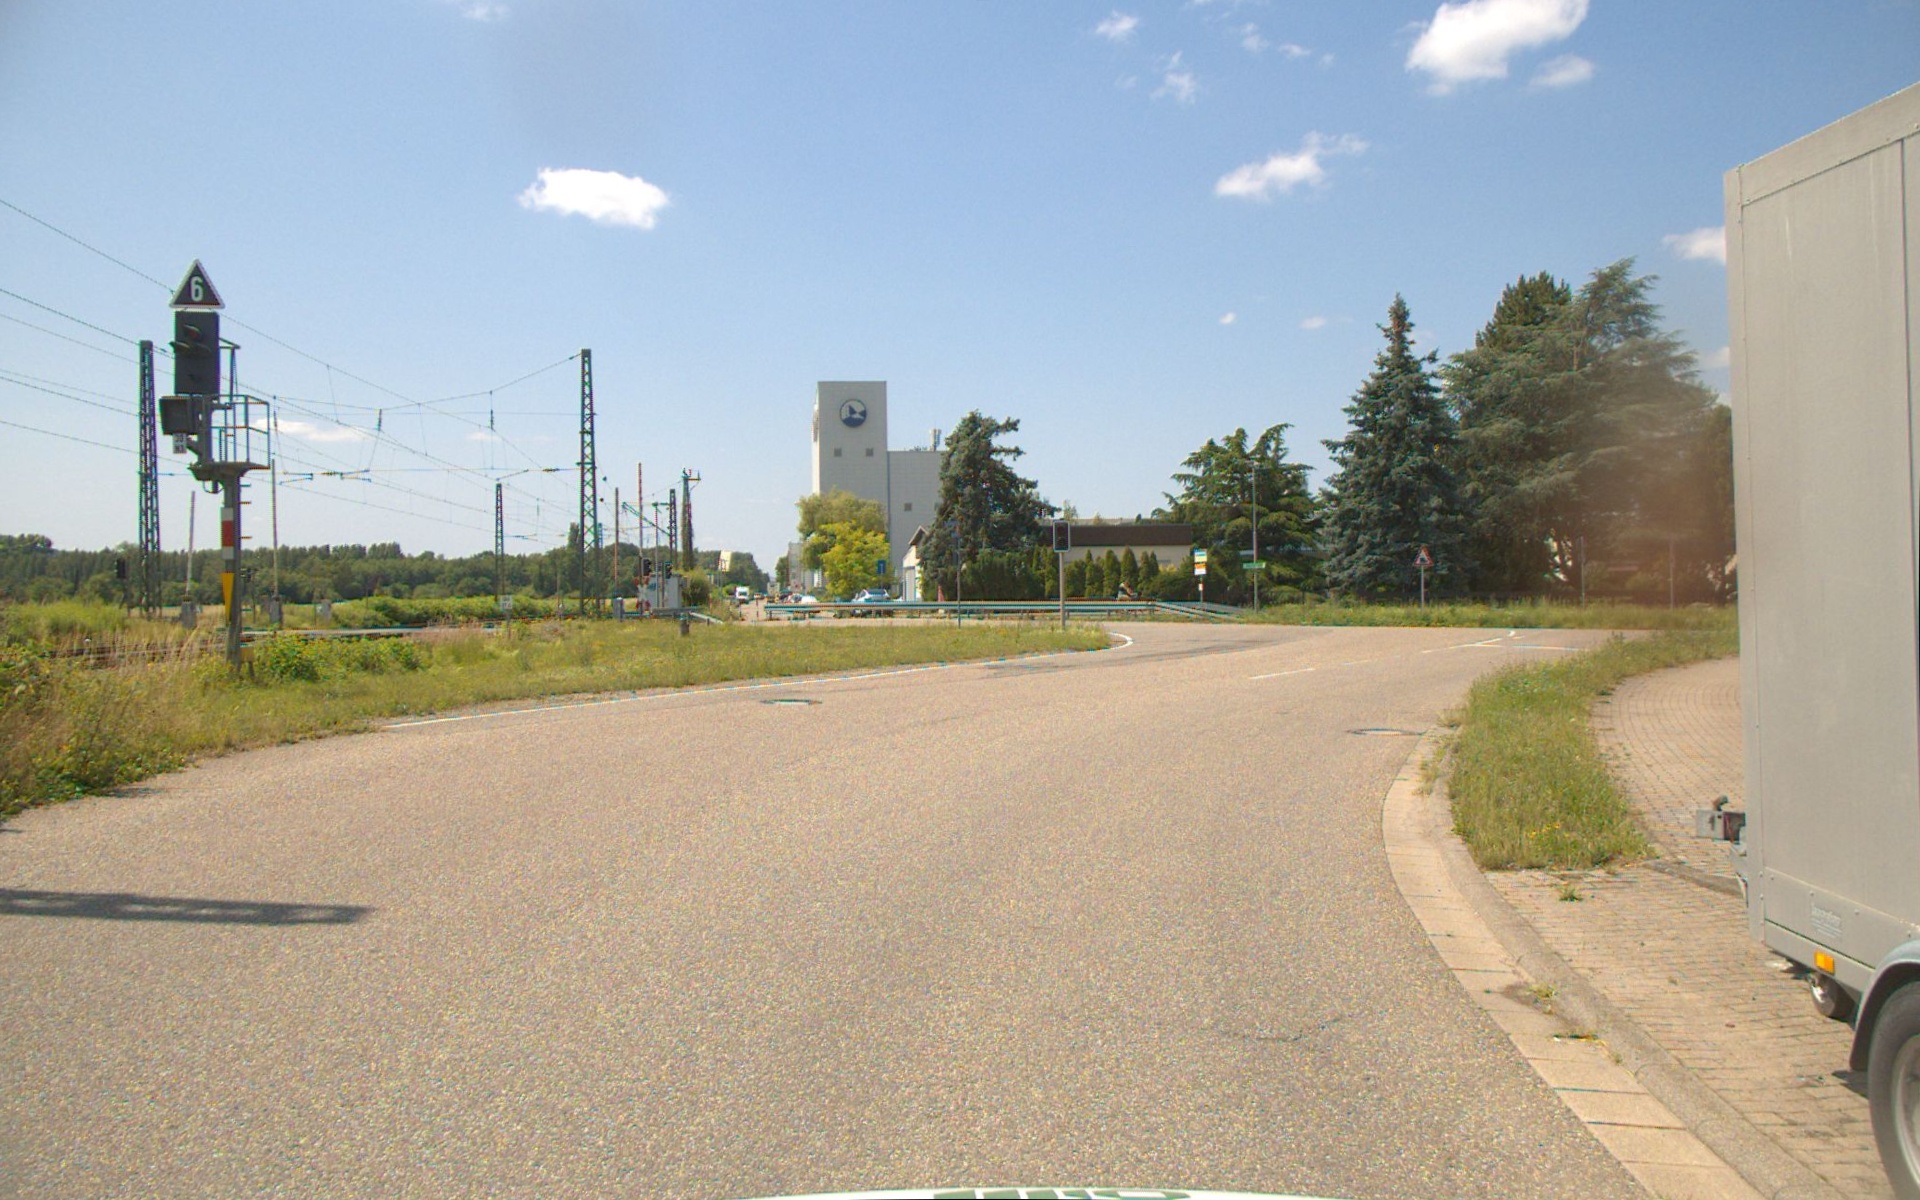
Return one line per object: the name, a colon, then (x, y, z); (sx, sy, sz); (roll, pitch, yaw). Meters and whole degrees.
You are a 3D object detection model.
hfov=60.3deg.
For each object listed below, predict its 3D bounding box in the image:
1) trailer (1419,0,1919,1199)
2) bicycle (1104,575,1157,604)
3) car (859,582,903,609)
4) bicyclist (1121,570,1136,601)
trailer: (3.057, -0.038, 4.800); (1.893, 2.690, 5.184); (-3, 1, 0)
bicycle: (7.131, -0.431, 69.208); (2.094, 1.185, 0.662); (0, 1, 18)
car: (-4.656, -0.277, 97.249); (1.958, 1.536, 4.442); (-1, 1, -11)
bicyclist: (7.048, -0.613, 69.212); (0.499, 1.277, 0.469); (0, 1, 18)
